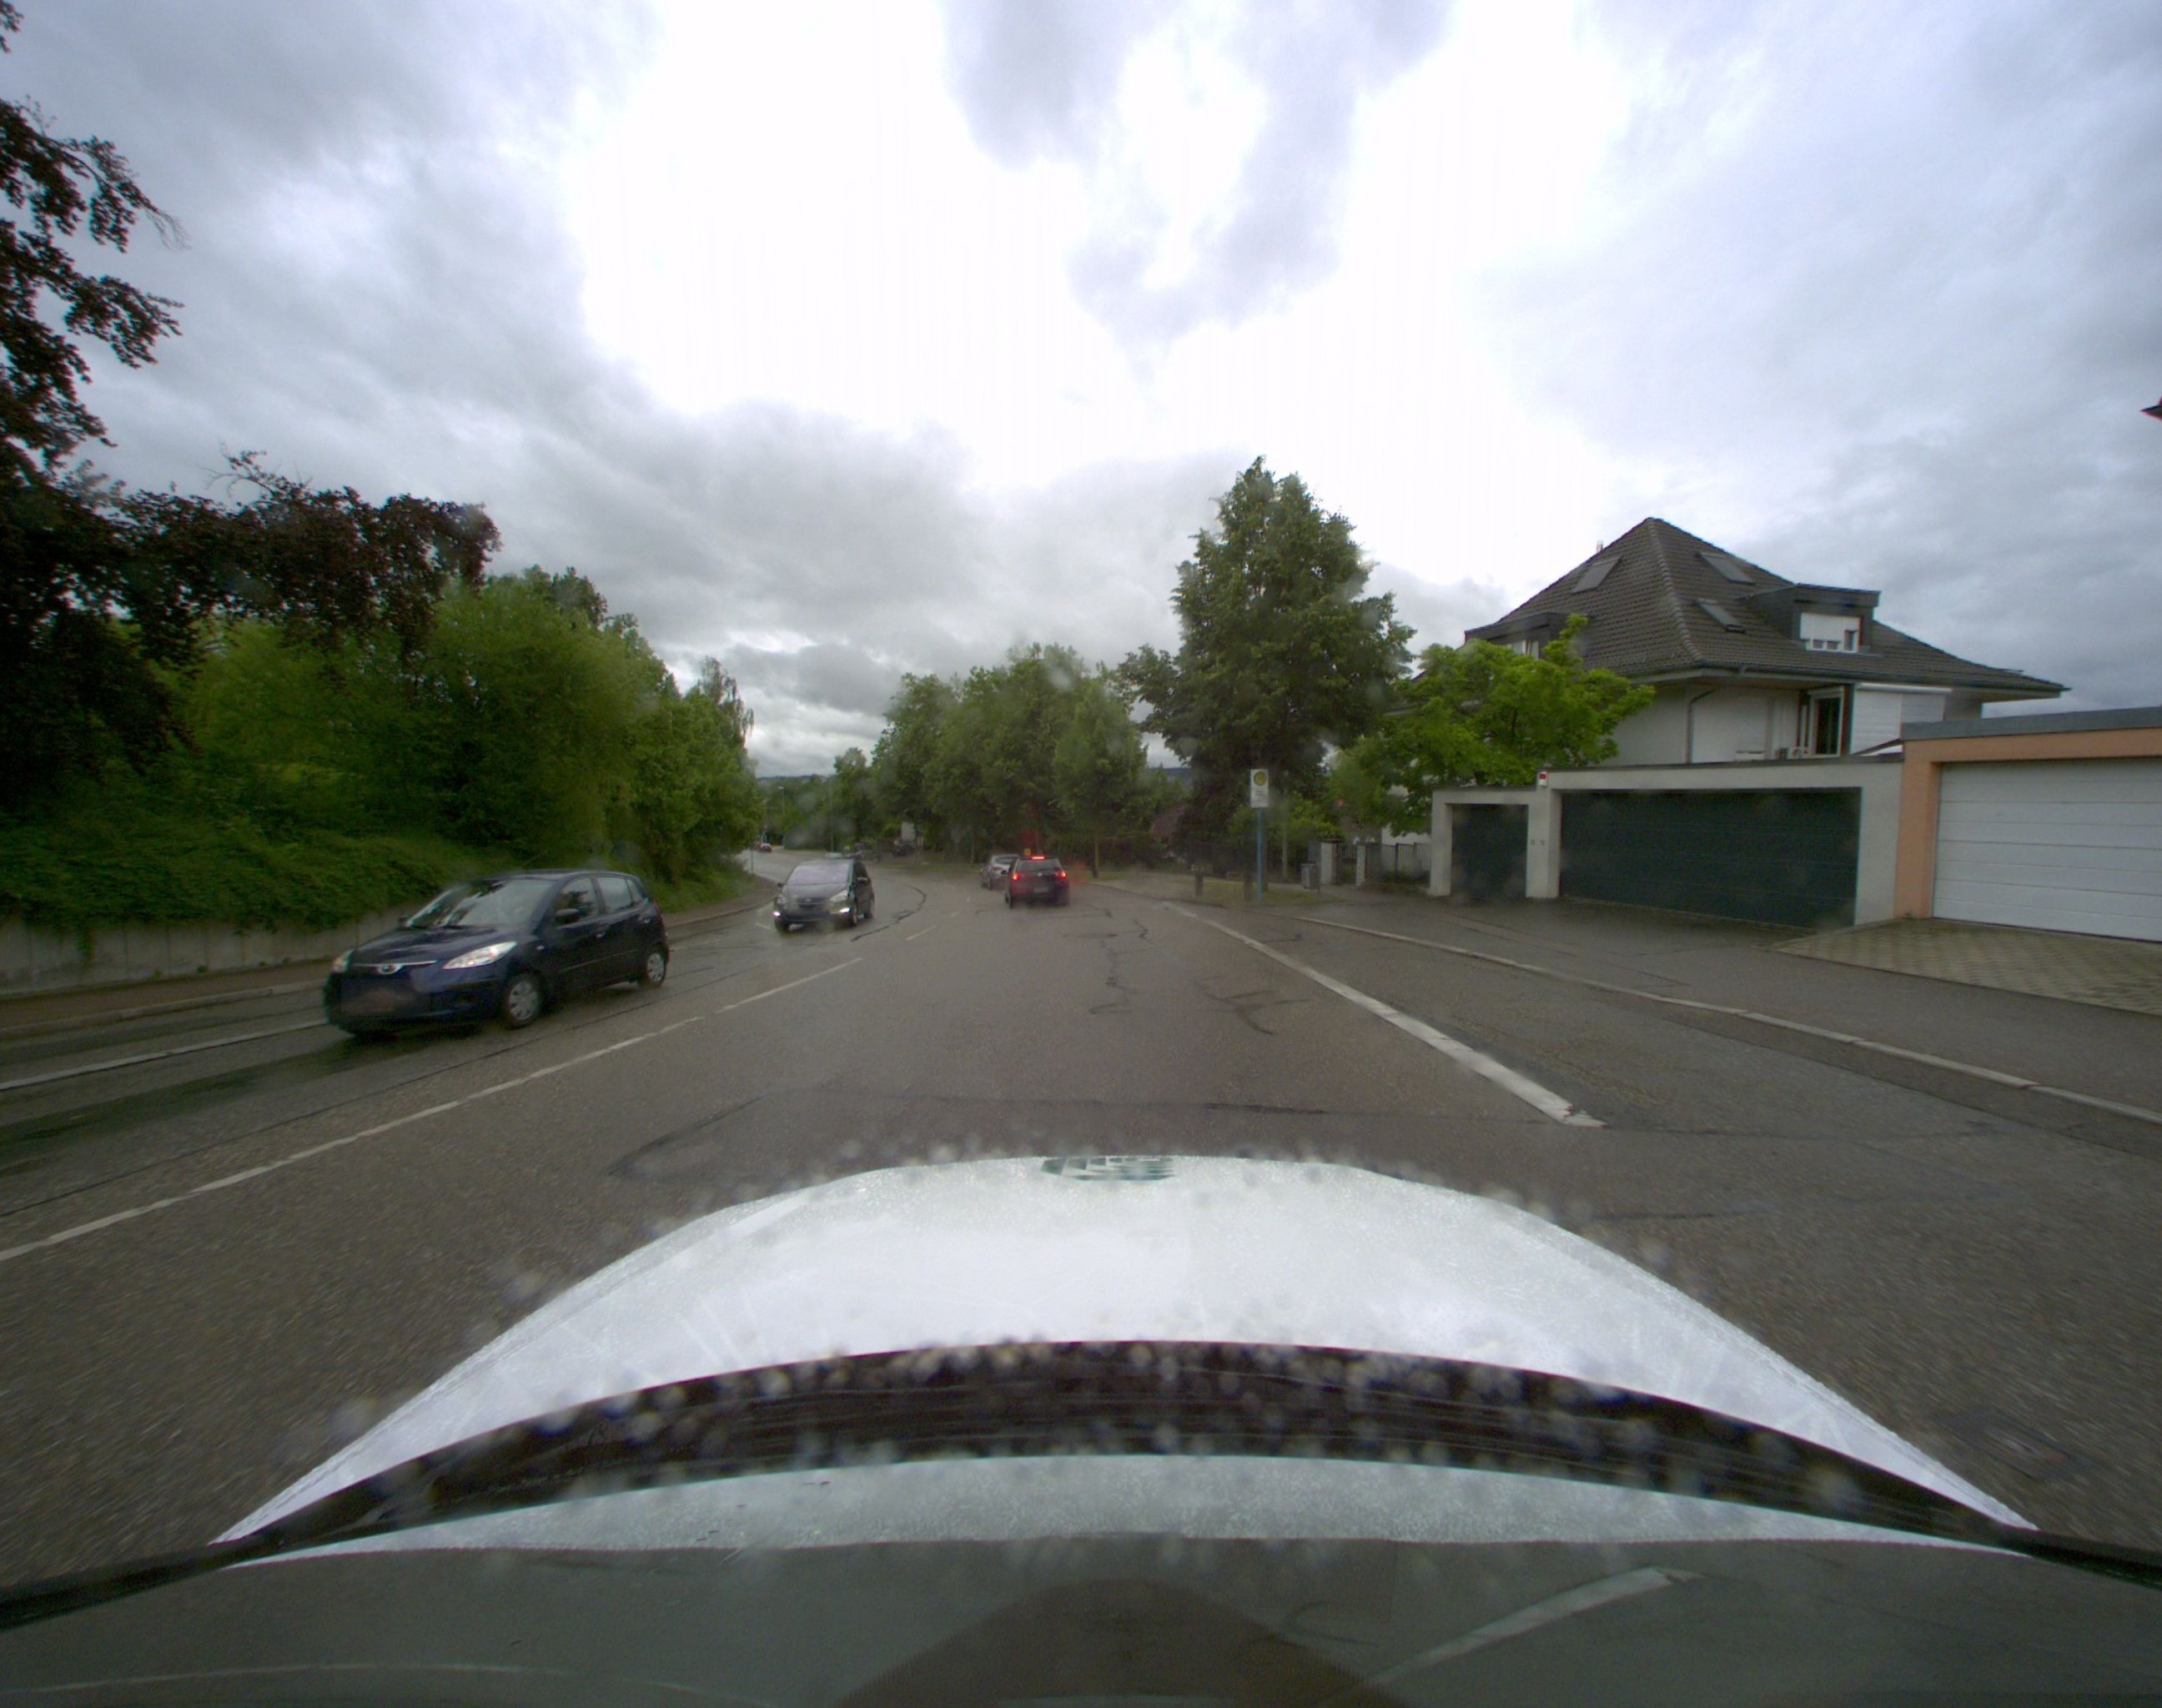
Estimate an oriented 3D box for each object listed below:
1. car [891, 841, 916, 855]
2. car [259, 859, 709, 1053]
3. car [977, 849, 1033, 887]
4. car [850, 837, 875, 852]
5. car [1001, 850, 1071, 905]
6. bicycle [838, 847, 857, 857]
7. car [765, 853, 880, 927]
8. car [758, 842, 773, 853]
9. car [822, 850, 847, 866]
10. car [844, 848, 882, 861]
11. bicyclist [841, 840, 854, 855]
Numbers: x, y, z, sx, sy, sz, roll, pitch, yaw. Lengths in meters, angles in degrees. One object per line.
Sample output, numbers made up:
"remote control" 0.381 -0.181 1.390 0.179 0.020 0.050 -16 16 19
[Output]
"car" -23.224 -0.760 106.683 1.741 1.469 4.579 2 5 9
"car" -6.103 0.886 9.160 1.715 1.464 4.378 -2 2 1
"car" -3.391 0.570 35.806 1.758 1.464 3.979 -2 2 -16
"car" -28.575 -1.303 106.733 1.941 1.688 4.904 1 4 -1
"car" -1.426 0.646 24.501 1.721 1.464 3.988 -2 0 -8
"bicycle" -28.697 -0.242 100.281 2.020 1.155 0.856 -2 1 8
"car" -6.314 0.805 20.458 1.808 1.577 4.676 -2 0 -6
"car" -46.601 -1.006 120.345 1.731 1.464 3.966 2 0 -27
"car" -25.059 0.376 82.624 1.731 1.464 3.966 2 0 -27
"car" -25.517 0.020 95.378 4.142 1.383 1.715 -2 0 -22
"bicyclist" -28.714 -0.779 100.282 1.274 1.755 0.856 -2 1 8
